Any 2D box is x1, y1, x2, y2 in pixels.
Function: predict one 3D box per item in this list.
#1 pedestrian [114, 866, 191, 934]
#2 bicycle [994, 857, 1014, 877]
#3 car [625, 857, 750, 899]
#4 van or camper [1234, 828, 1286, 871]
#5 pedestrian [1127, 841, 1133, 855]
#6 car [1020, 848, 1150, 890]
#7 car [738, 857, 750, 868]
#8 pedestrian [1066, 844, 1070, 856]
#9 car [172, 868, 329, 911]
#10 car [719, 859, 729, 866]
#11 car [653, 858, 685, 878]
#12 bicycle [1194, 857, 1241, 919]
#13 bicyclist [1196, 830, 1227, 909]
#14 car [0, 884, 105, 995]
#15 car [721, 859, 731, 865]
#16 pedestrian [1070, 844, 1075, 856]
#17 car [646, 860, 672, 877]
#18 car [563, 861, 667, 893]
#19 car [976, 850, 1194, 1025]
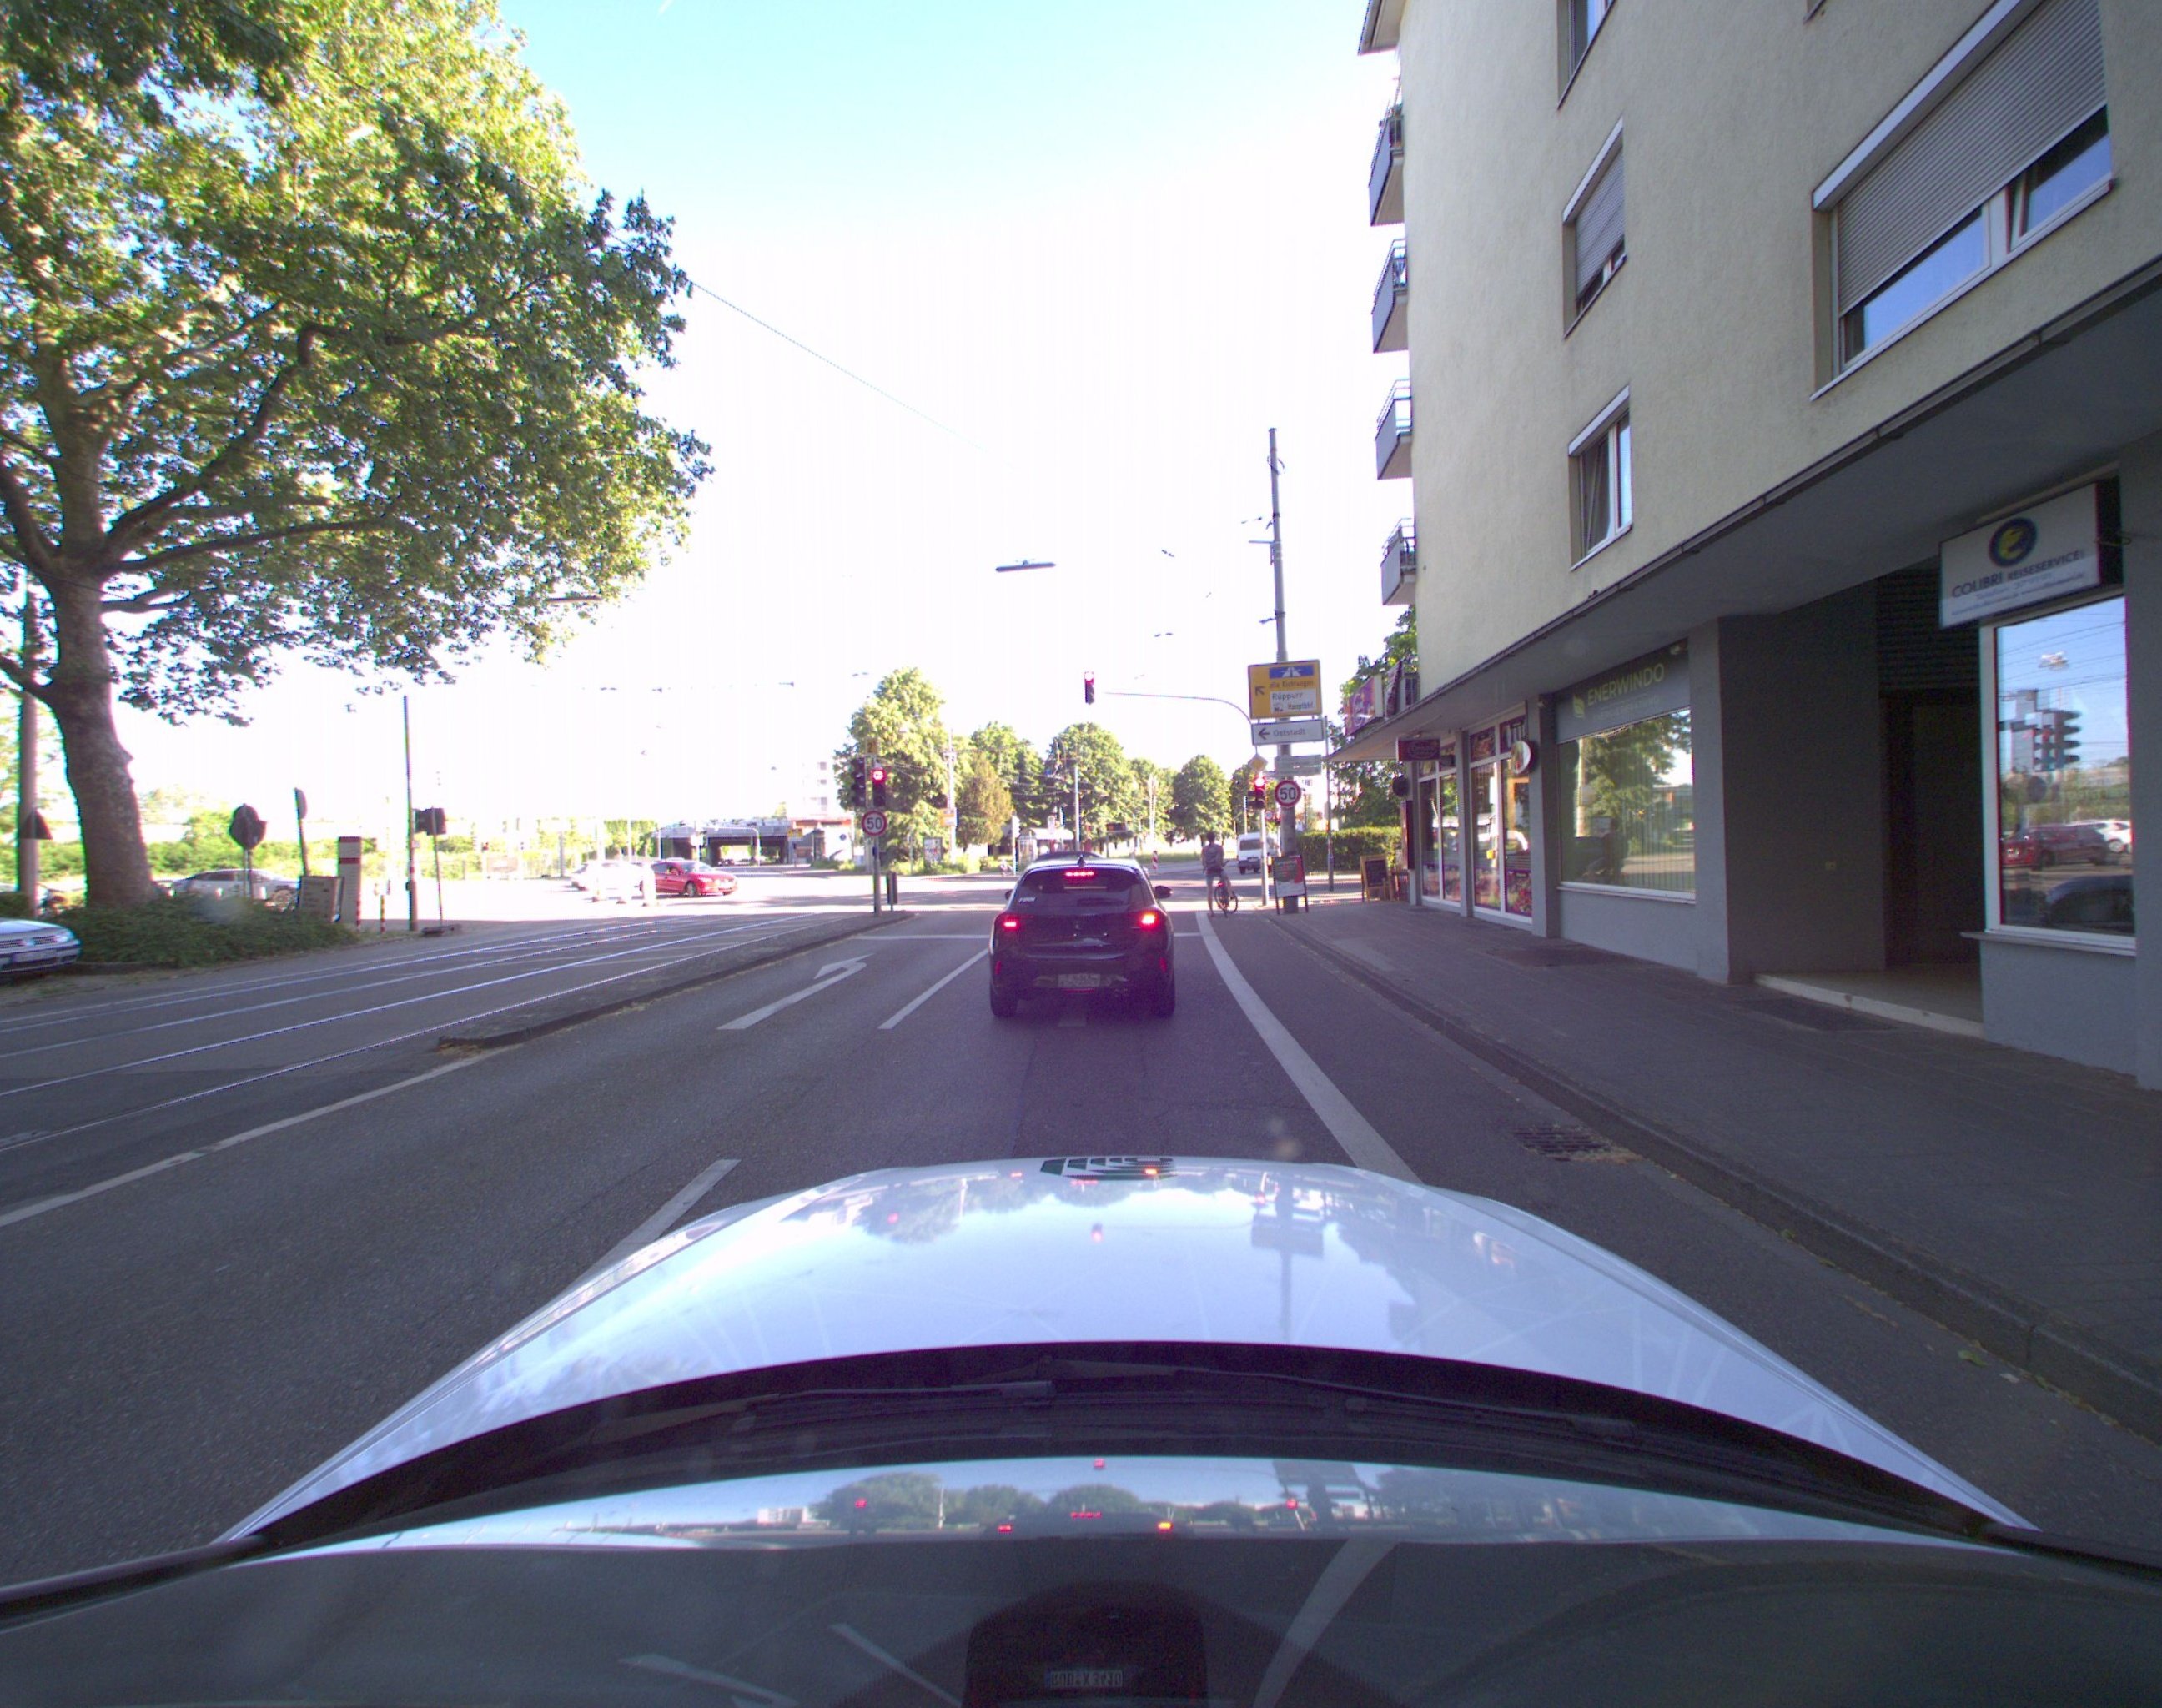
[{"bbox_3d":[-23.418,1.141,20.552,0.842,1.647,0.931,0,-1,1],"label":"pedestrian"},{"bbox_3d":[-4.380,0.724,46.531,0.793,1.064,2.186,-2,0,2],"label":"bicycle"},{"bbox_3d":[-15.747,0.951,32.609,4.437,1.565,2.034,-1,0,23],"label":"car"},{"bbox_3d":[10.212,-0.223,46.262,2.011,2.310,4.565,-1,-1,23],"label":"van or camper"},{"bbox_3d":[6.343,-0.792,105.515,0.607,1.872,0.514,0,-1,-29],"label":"pedestrian"},{"bbox_3d":[0.194,0.551,31.045,4.701,1.473,1.943,-1,0,7],"label":"car"},{"bbox_3d":[-54.300,1.400,131.201,1.761,1.684,3.713,0,-1,-22],"label":"car"},{"bbox_3d":[-1.993,-0.588,123.237,0.602,1.872,0.519,0,-1,-4],"label":"pedestrian"},{"bbox_3d":[-34.681,1.450,34.178,4.215,1.519,1.788,-2,1,-27],"label":"car"},{"bbox_3d":[-66.815,1.605,152.345,1.587,1.260,3.397,-2,0,-28],"label":"car"},{"bbox_3d":[-33.133,1.122,65.570,1.892,1.585,3.809,0,-1,-21],"label":"car"},{"bbox_3d":[3.036,0.715,17.993,0.747,1.235,2.024,-2,0,16],"label":"bicycle"},{"bbox_3d":[2.858,0.330,17.855,0.529,1.692,0.571,-2,0,19],"label":"bicyclist"},{"bbox_3d":[-16.627,1.197,11.349,3.957,1.453,1.670,-1,0,-1],"label":"car"},{"bbox_3d":[-77.812,1.674,178.510,1.587,1.260,3.397,-2,0,-28],"label":"car"},{"bbox_3d":[-1.293,-0.604,121.987,0.602,1.872,0.519,0,-1,-4],"label":"pedestrian"},{"bbox_3d":[-40.762,1.408,78.708,1.892,1.585,3.809,0,-1,-21],"label":"car"},{"bbox_3d":[-23.852,1.146,41.779,1.972,1.552,4.222,-1,-1,43],"label":"car"},{"bbox_3d":[0.095,0.703,8.937,1.833,1.462,3.985,-1,0,2],"label":"car"}]
